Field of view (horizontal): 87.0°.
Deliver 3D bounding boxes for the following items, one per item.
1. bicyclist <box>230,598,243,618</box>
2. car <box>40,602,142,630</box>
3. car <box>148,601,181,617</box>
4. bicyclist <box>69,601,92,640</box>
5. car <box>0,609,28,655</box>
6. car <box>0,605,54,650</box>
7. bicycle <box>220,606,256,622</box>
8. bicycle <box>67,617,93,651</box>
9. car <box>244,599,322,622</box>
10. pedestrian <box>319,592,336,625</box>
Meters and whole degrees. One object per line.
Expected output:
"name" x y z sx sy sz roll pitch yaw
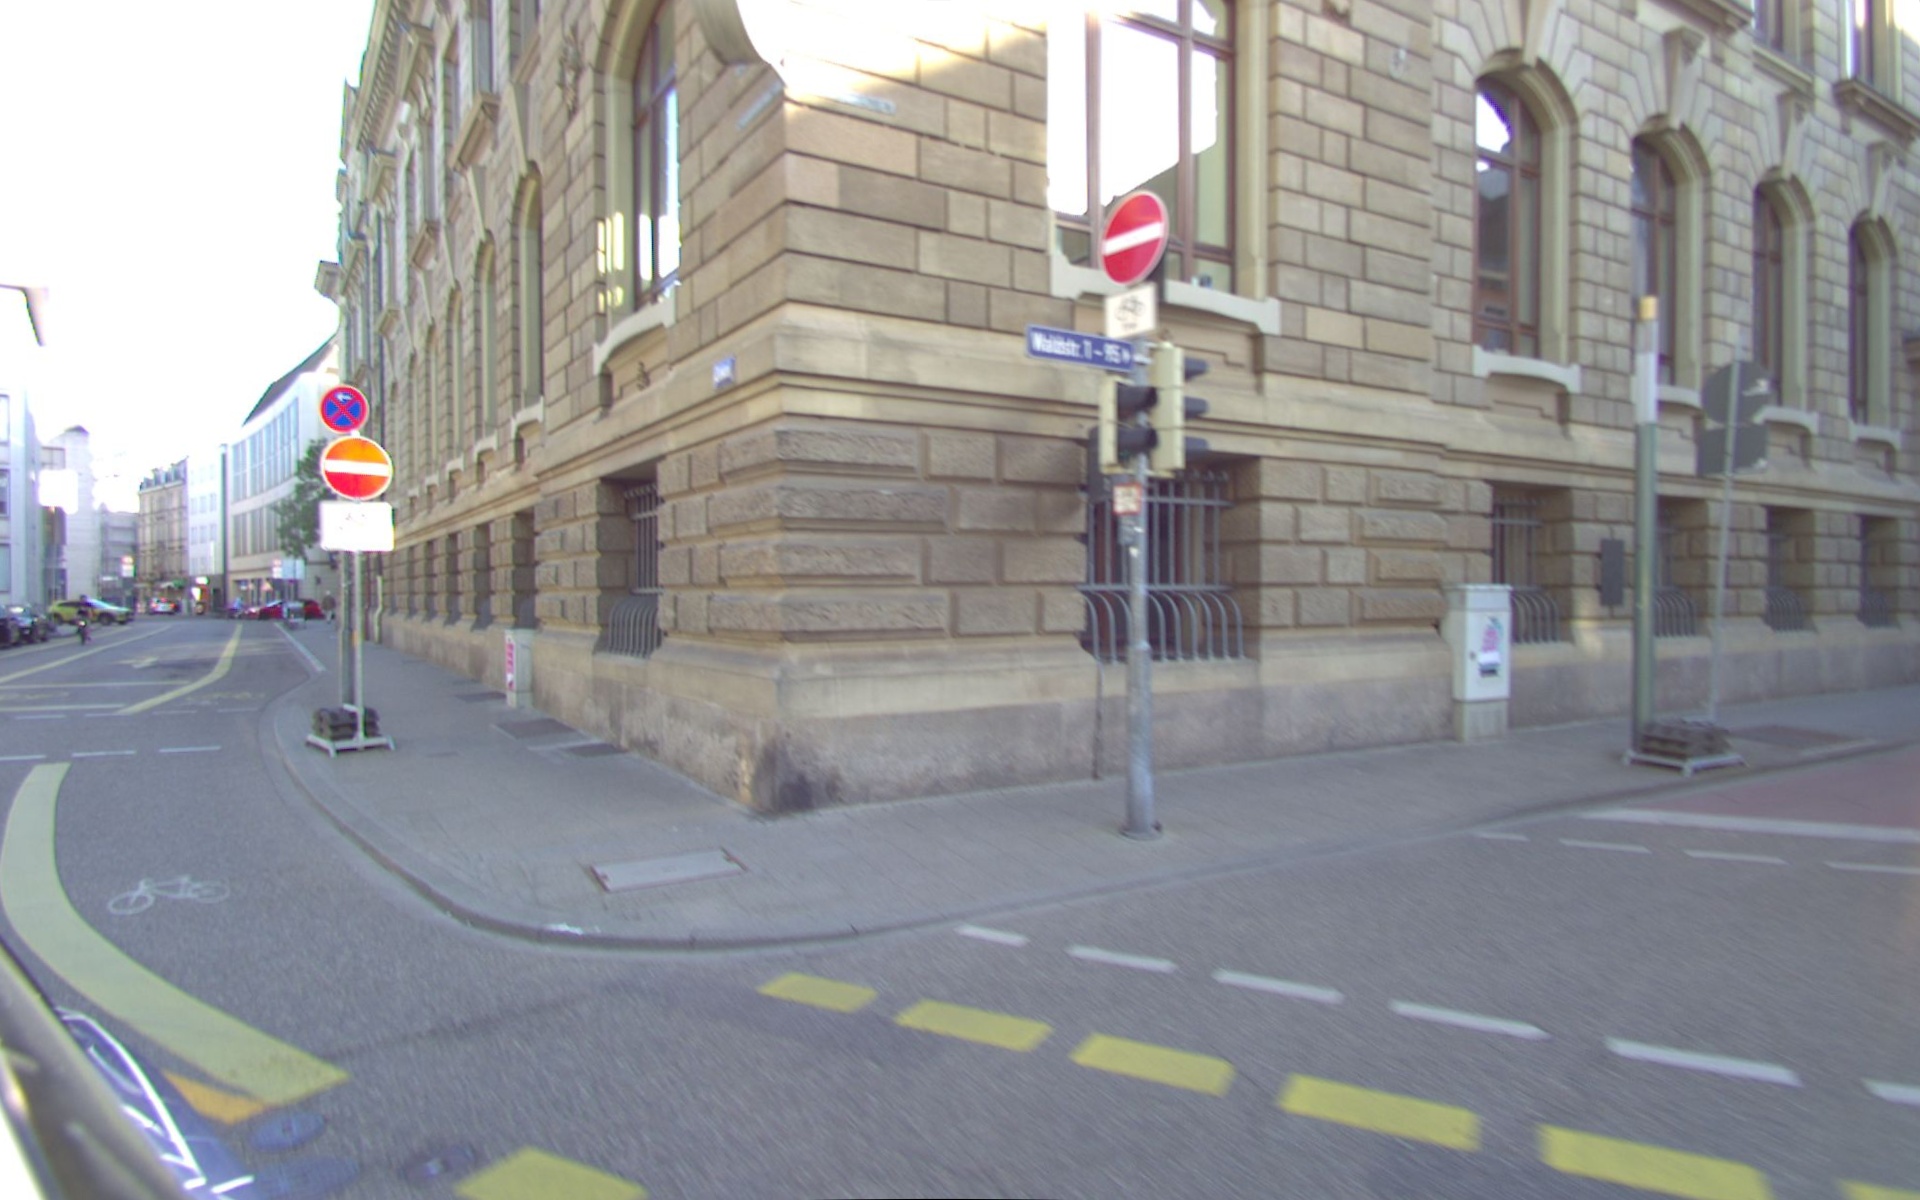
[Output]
"bicyclist" -46.337 0.521 64.814 0.603 1.298 0.539 -1 1 -39
"car" -51.229 0.930 59.765 4.182 1.503 1.861 -1 1 -16
"car" -78.882 0.848 100.376 4.272 1.502 2.026 0 0 44
"bicyclist" -29.824 0.677 34.321 0.529 1.298 0.553 -1 1 -37
"car" -31.283 1.017 32.463 1.606 1.410 3.895 -1 1 -36
"car" -34.423 0.974 36.834 1.671 1.503 4.265 -1 1 -36
"bicycle" -46.290 0.880 64.866 1.843 0.916 0.536 -2 6 -38
"bicycle" -29.759 1.141 34.242 0.526 1.074 1.429 -1 1 -36
"car" -46.570 0.708 69.705 1.633 1.482 4.211 0 0 42
"pedestrian" -34.736 0.455 55.571 0.753 1.793 0.624 -1 1 -34
